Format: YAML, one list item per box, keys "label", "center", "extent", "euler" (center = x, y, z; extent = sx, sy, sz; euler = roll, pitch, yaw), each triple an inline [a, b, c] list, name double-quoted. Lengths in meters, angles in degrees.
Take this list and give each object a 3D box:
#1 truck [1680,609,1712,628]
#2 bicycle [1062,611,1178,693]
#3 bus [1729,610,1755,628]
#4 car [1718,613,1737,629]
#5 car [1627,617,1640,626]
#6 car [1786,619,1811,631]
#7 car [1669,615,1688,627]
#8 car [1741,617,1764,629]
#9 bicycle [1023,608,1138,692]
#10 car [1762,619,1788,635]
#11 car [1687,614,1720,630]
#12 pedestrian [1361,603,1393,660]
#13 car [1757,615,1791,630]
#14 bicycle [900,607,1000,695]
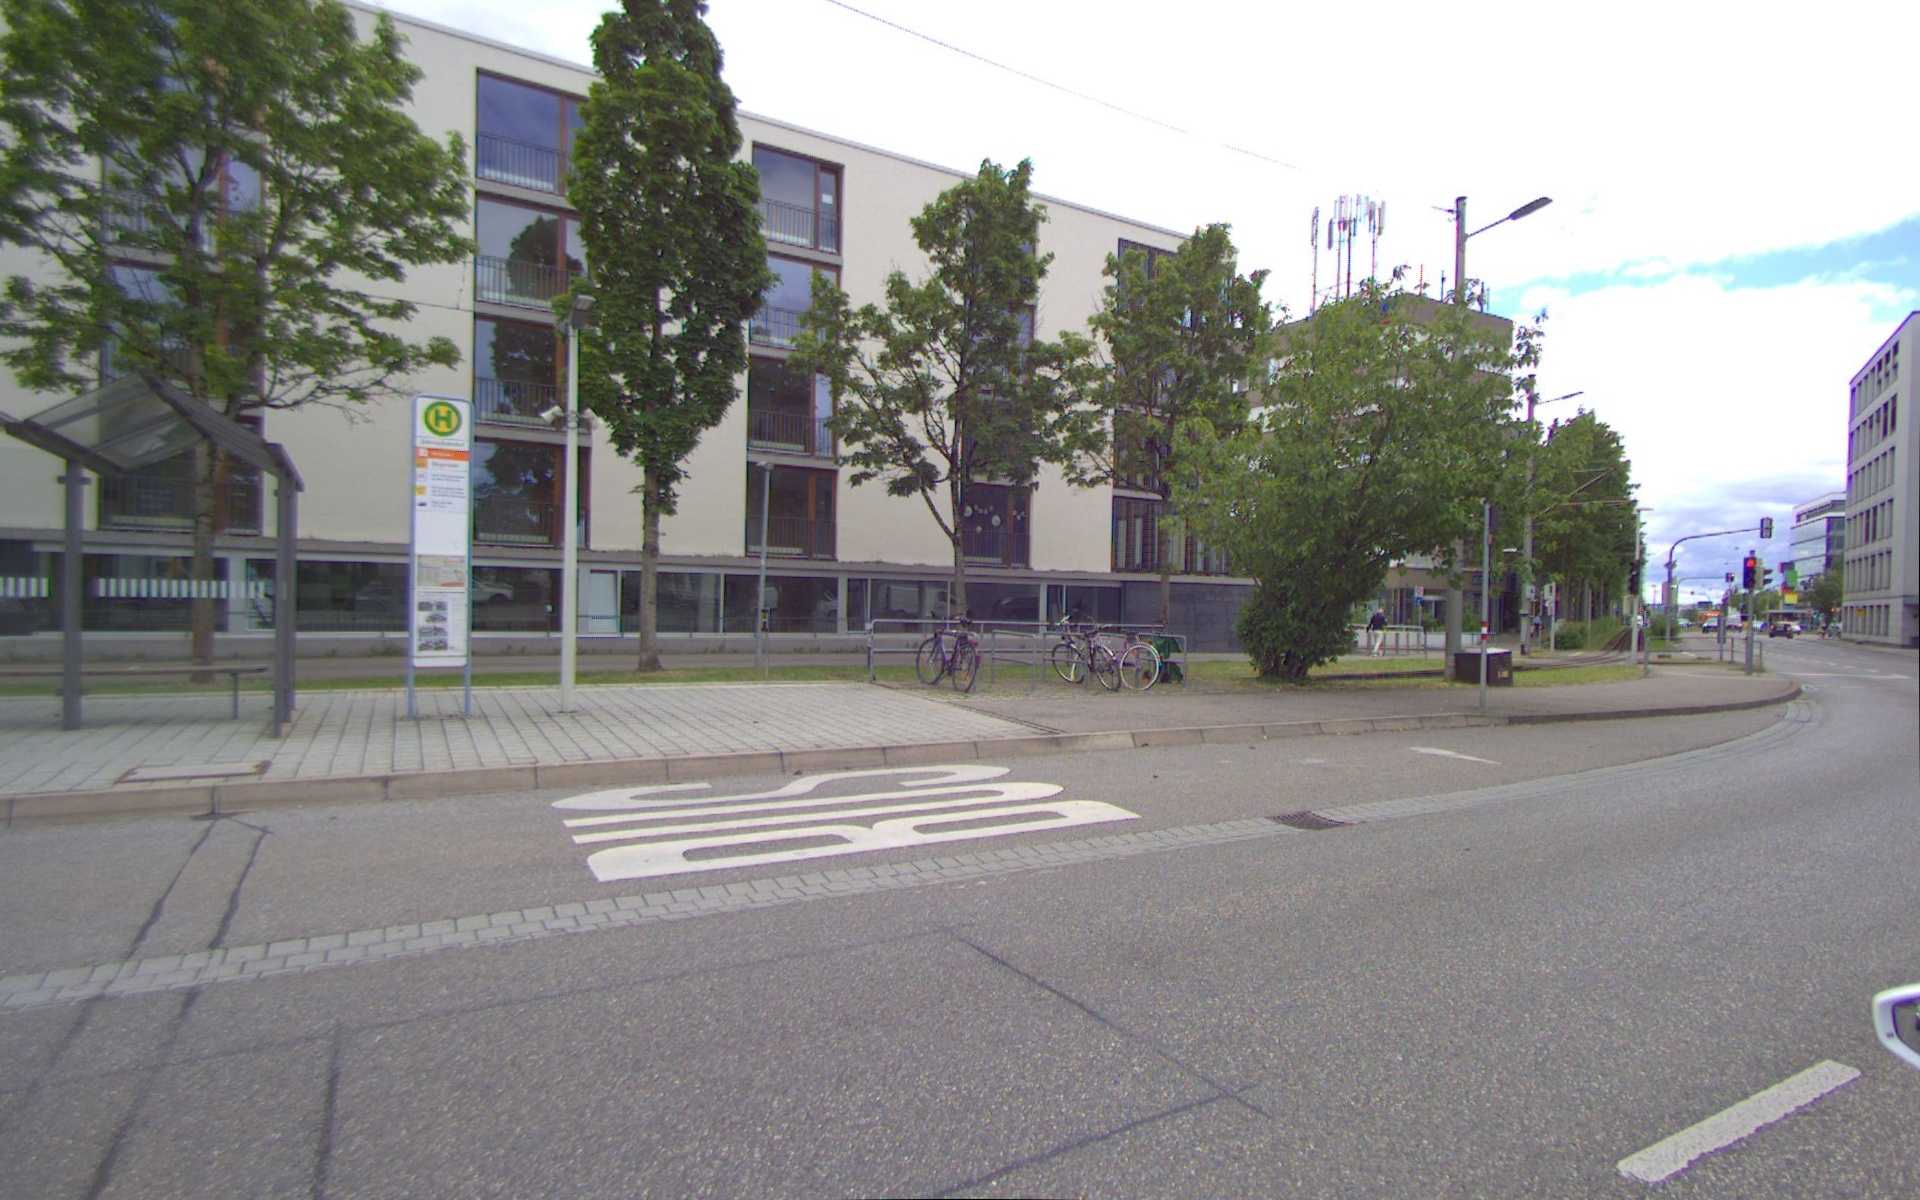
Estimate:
- label: "truck"
  center: [113.389, 2.803, 154.820]
  extent: [2.532, 2.863, 6.985]
  euler: [1, 0, 23]
- label: "bicycle"
  center: [2.461, 0.773, 15.749]
  extent: [0.624, 1.121, 2.090]
  euler: [1, 1, -28]
- label: "bus"
  center: [148.708, 3.546, 191.046]
  extent: [3.041, 2.968, 10.310]
  euler: [3, 2, 34]
- label: "car"
  center: [93.541, 2.571, 122.384]
  extent: [1.829, 1.948, 3.983]
  euler: [1, 0, 38]
- label: "car"
  center: [144.911, 4.719, 216.140]
  extent: [1.886, 1.748, 4.163]
  euler: [3, 2, 28]
- label: "car"
  center: [115.298, 3.406, 138.127]
  extent: [1.842, 1.635, 3.993]
  euler: [1, 0, 29]
- label: "car"
  center: [120.222, 3.547, 168.143]
  extent: [1.886, 1.748, 4.164]
  euler: [3, 2, 28]
- label: "car"
  center: [110.719, 3.212, 140.384]
  extent: [1.842, 1.635, 3.993]
  euler: [1, 0, 29]
- label: "bicycle"
  center: [1.806, 0.733, 15.427]
  extent: [0.624, 1.121, 2.089]
  euler: [1, 1, -29]
- label: "car"
  center: [82.120, 2.670, 101.204]
  extent: [1.878, 1.506, 3.979]
  euler: [1, 0, 42]
- label: "car"
  center: [81.034, 2.383, 109.446]
  extent: [3.962, 1.718, 1.839]
  euler: [1, 0, -36]
- label: "pedestrian"
  center: [15.366, 1.149, 37.013]
  extent: [0.758, 2.041, 0.886]
  euler: [5, 3, 41]
- label: "car"
  center: [97.024, 2.664, 119.735]
  extent: [1.820, 1.783, 4.001]
  euler: [1, 0, 18]
- label: "bicycle"
  center: [-0.183, 0.701, 14.507]
  extent: [0.580, 1.121, 1.920]
  euler: [1, 1, -29]
